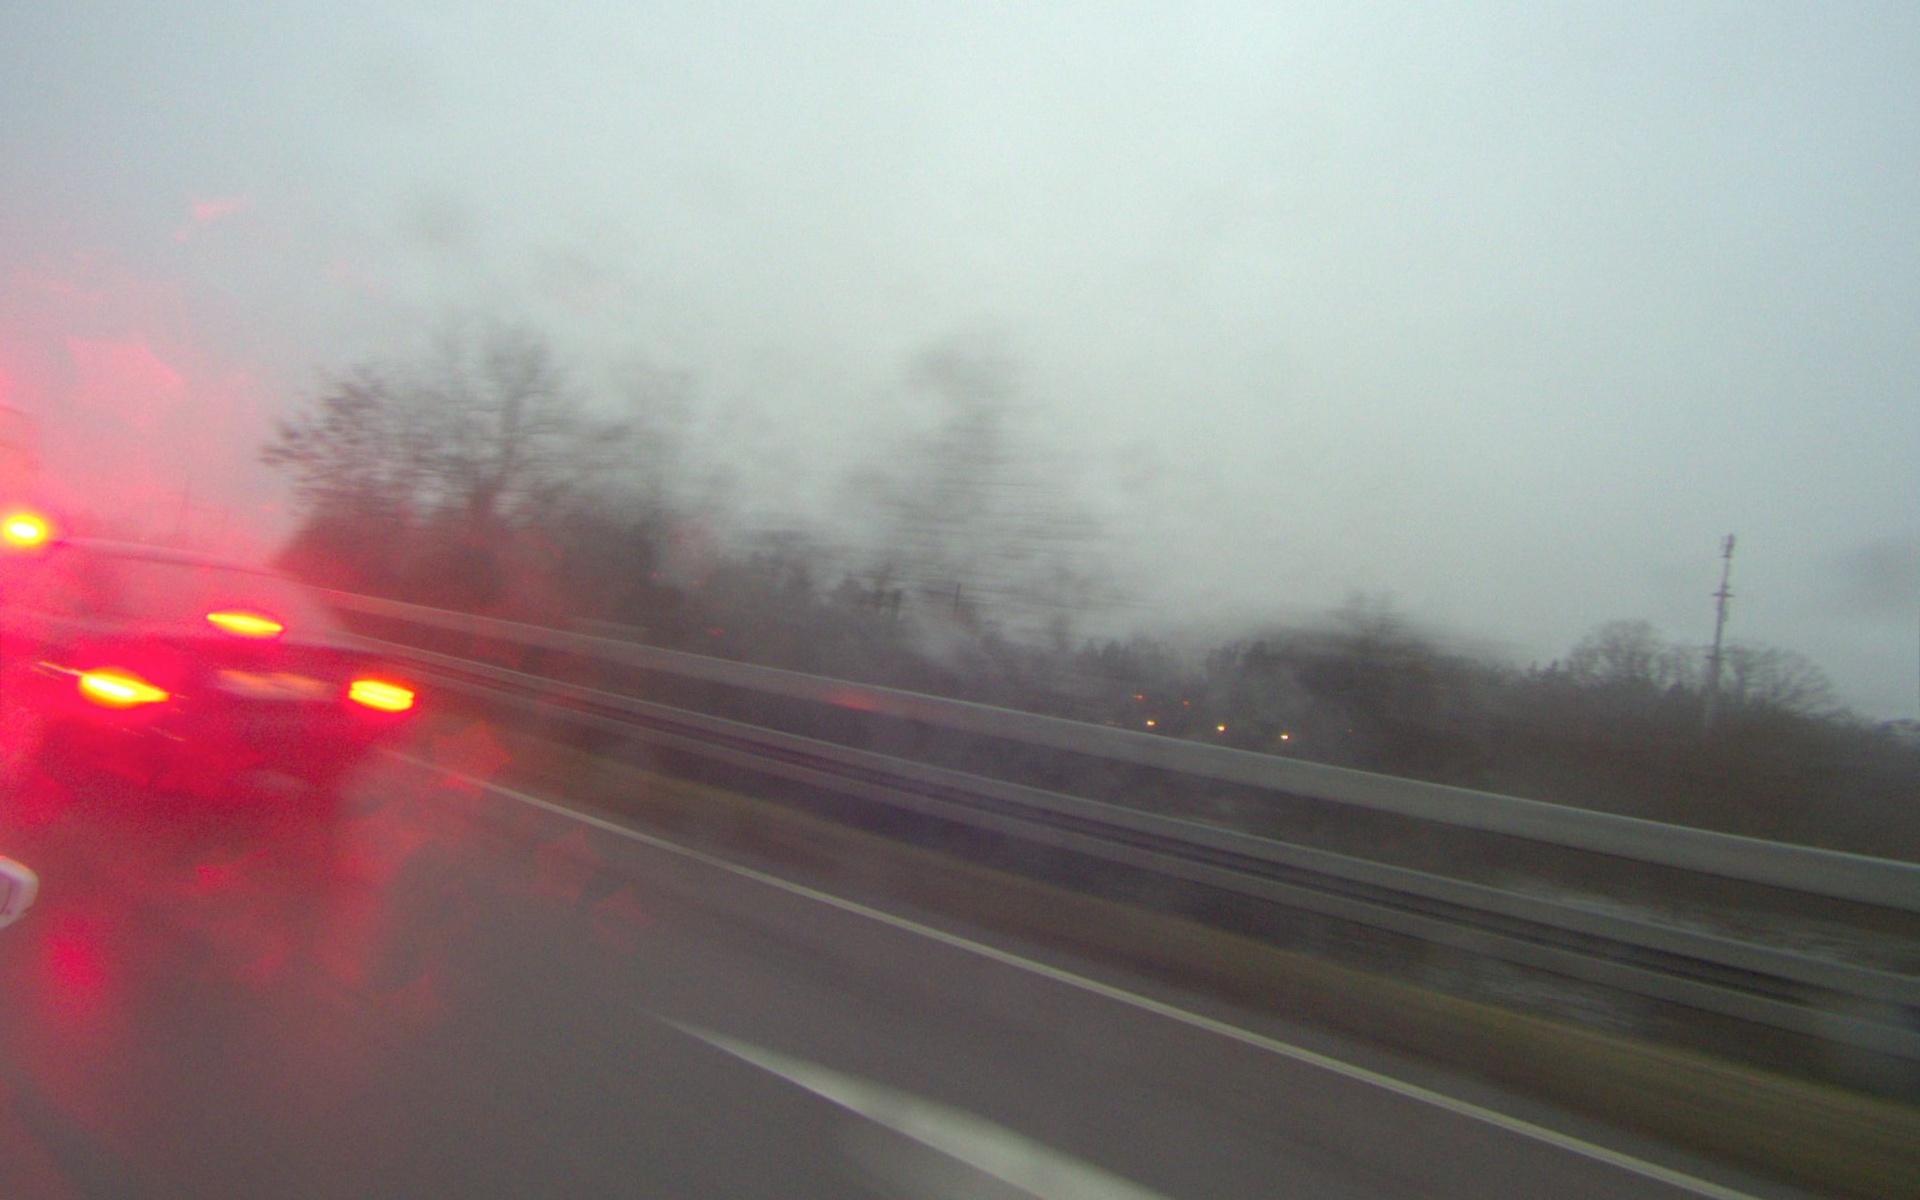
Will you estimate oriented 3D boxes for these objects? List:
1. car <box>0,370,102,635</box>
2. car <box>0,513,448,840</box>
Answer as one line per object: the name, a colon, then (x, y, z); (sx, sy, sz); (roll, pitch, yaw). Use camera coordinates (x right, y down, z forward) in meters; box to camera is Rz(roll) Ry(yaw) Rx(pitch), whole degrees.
car: (-13.970, -1.452, 13.112); (6.287, 3.000, 2.286); (6, -2, 33)
car: (-5.423, 0.300, 6.531); (4.308, 1.429, 1.740); (7, -4, 34)
